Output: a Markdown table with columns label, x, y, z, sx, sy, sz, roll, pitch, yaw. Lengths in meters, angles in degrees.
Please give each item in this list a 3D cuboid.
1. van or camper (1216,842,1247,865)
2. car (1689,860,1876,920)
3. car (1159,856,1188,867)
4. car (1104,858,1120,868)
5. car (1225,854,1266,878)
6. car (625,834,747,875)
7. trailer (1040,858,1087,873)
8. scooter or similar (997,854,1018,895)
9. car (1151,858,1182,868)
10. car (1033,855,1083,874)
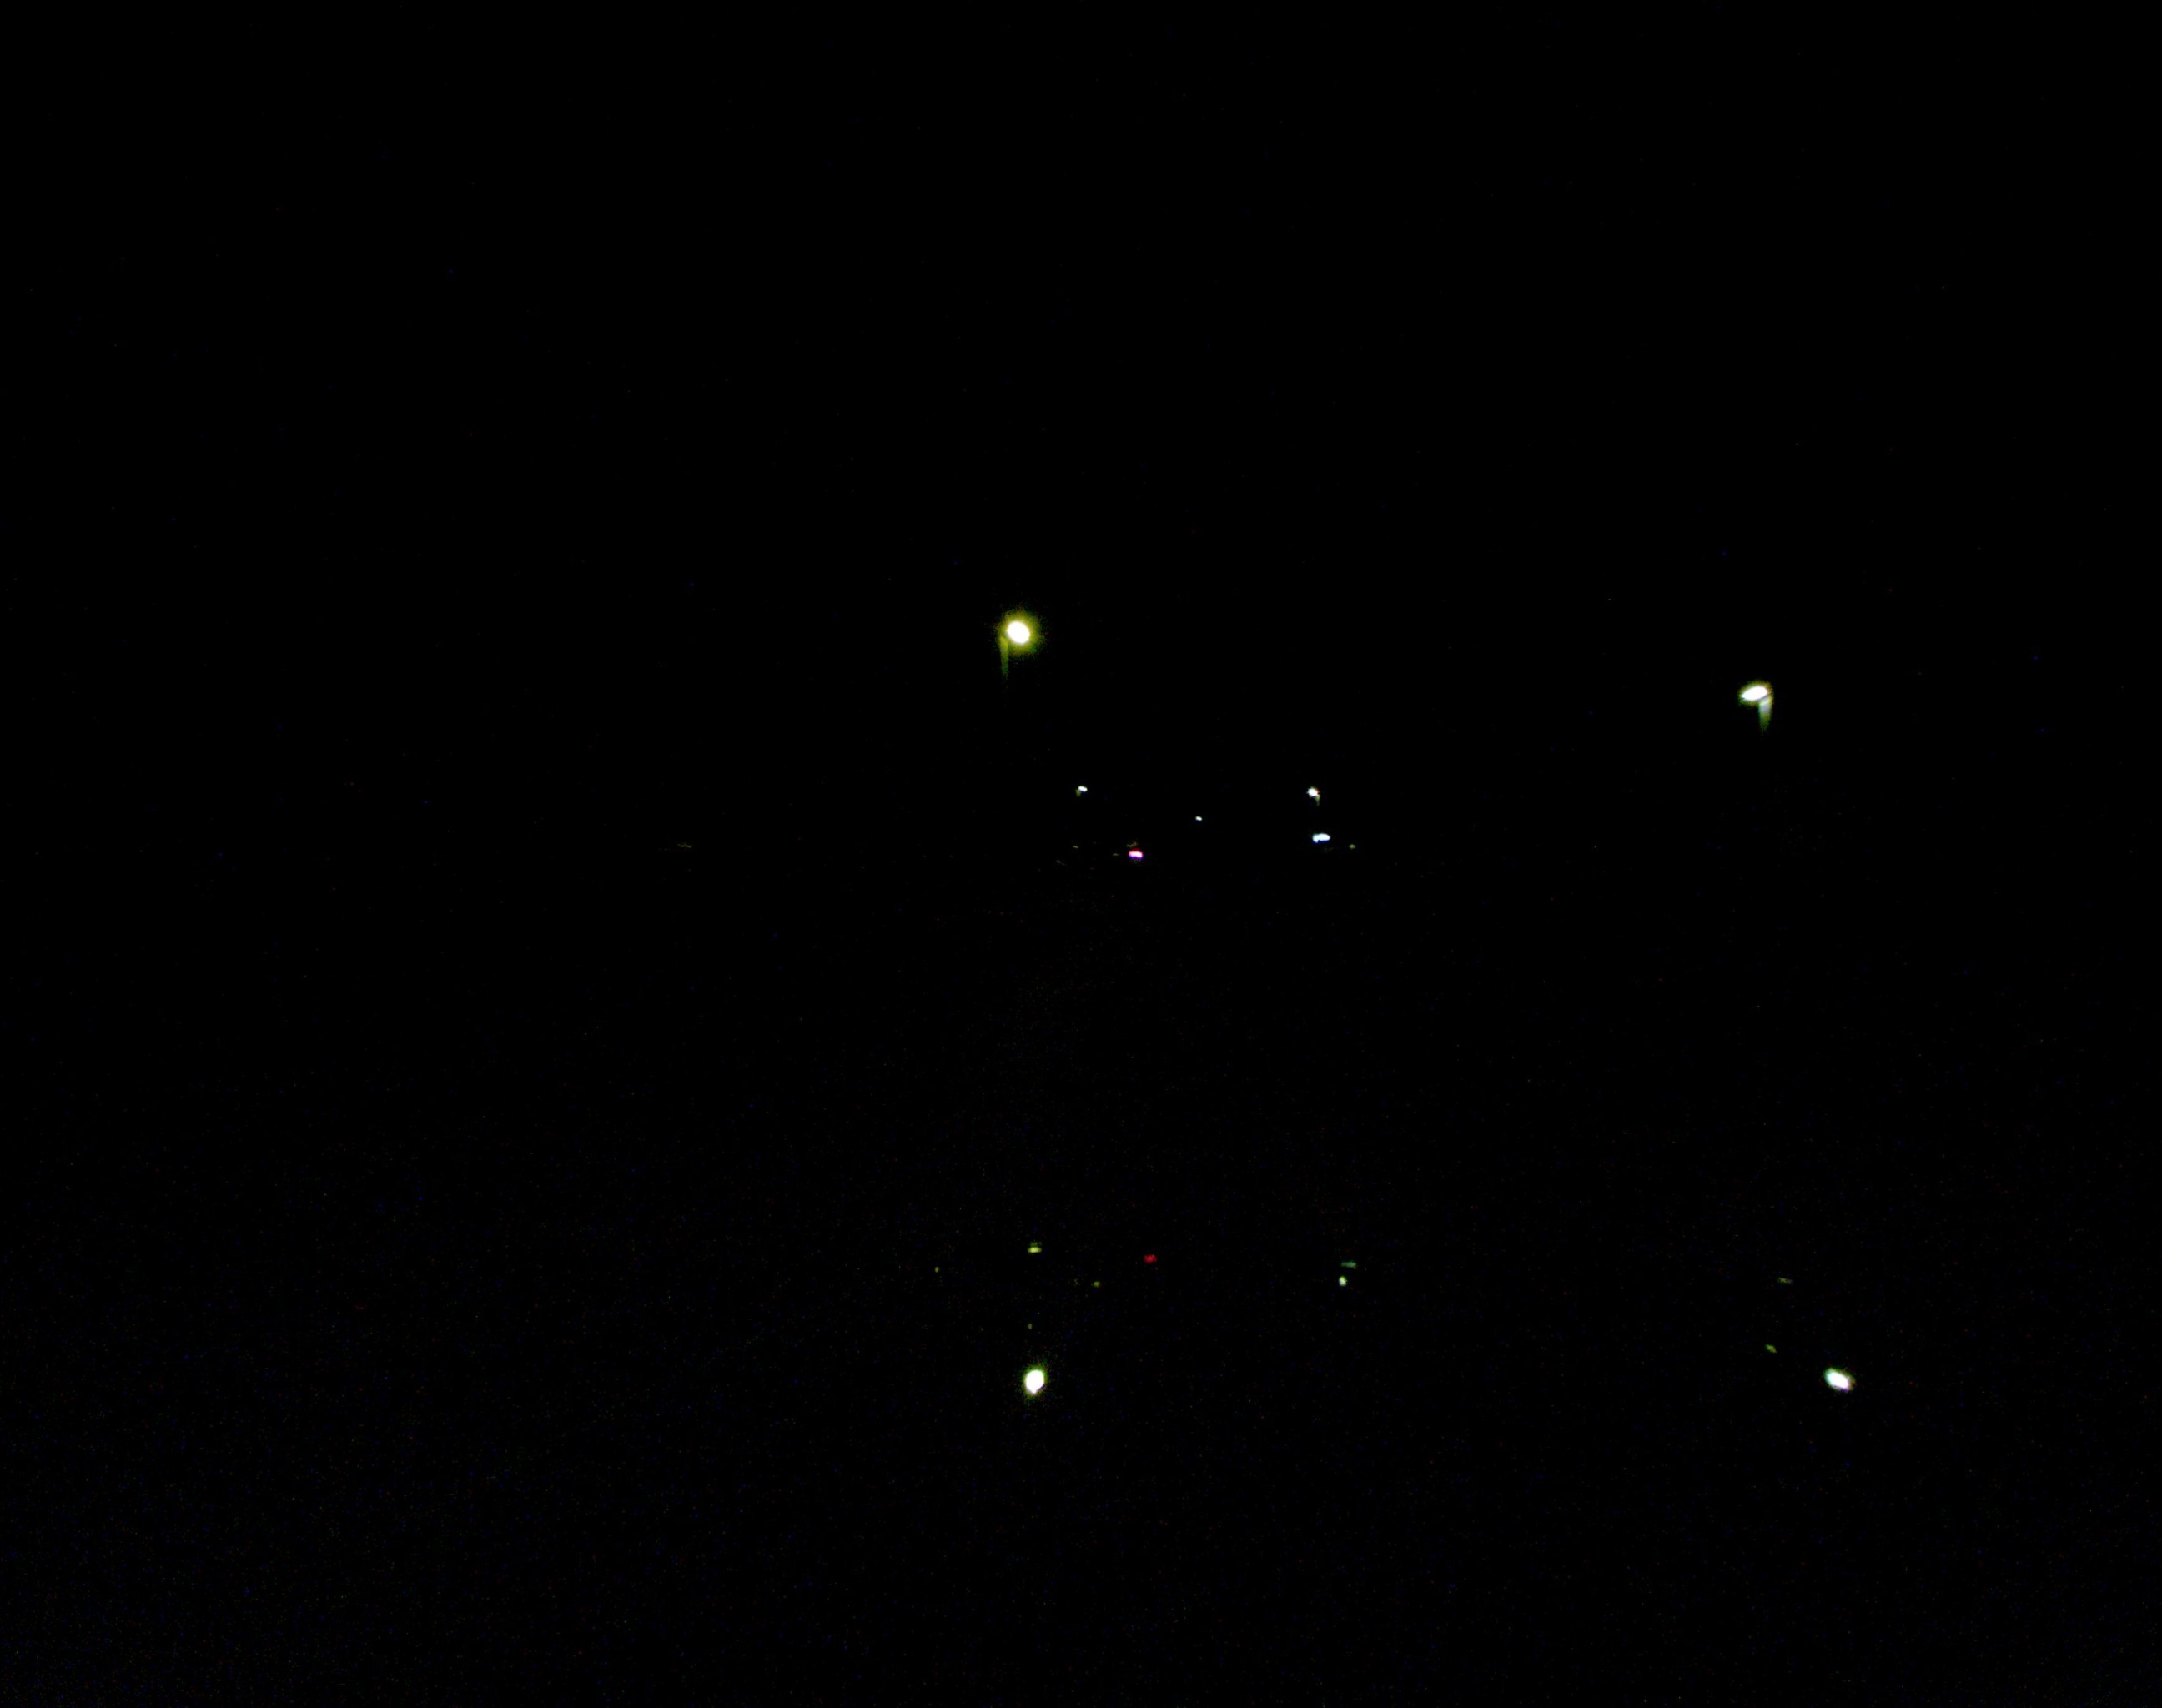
| label | x | y | z | sx | sy | sz | roll | pitch | yaw |
| --- | --- | --- | --- | --- | --- | --- | --- | --- | --- |
| van or camper | 18.709 | -0.058 | 94.664 | 2.081 | 2.731 | 5.926 | 0 | -1 | -7 |
| car | 20.977 | 1.033 | 22.893 | 3.718 | 1.617 | 1.785 | 1 | 1 | 13 |
| car | 13.908 | 1.129 | 114.302 | 3.998 | 1.608 | 2.000 | 1 | -1 | -3 |
| car | 4.553 | 1.313 | 112.250 | 1.755 | 1.460 | 4.007 | 0 | -1 | -7 |
| car | 11.288 | 0.812 | 52.516 | 1.677 | 1.581 | 3.985 | 0 | 0 | -5 |
| car | -16.037 | 0.013 | 31.007 | 3.898 | 1.445 | 1.945 | 2 | 1 | -3 |
| trailer | -1.394 | 0.911 | 59.616 | 3.442 | 0.996 | 1.953 | -2 | 0 | -6 |
| scooter or similar | -2.438 | 0.651 | 25.189 | 0.613 | 1.274 | 1.689 | 0 | 1 | -8 |
| car | 13.197 | 1.370 | 117.342 | 4.328 | 1.552 | 2.027 | 1 | -1 | -13 |
| car | -1.680 | 0.749 | 55.092 | 3.402 | 1.224 | 1.723 | -1 | 0 | -8 |
